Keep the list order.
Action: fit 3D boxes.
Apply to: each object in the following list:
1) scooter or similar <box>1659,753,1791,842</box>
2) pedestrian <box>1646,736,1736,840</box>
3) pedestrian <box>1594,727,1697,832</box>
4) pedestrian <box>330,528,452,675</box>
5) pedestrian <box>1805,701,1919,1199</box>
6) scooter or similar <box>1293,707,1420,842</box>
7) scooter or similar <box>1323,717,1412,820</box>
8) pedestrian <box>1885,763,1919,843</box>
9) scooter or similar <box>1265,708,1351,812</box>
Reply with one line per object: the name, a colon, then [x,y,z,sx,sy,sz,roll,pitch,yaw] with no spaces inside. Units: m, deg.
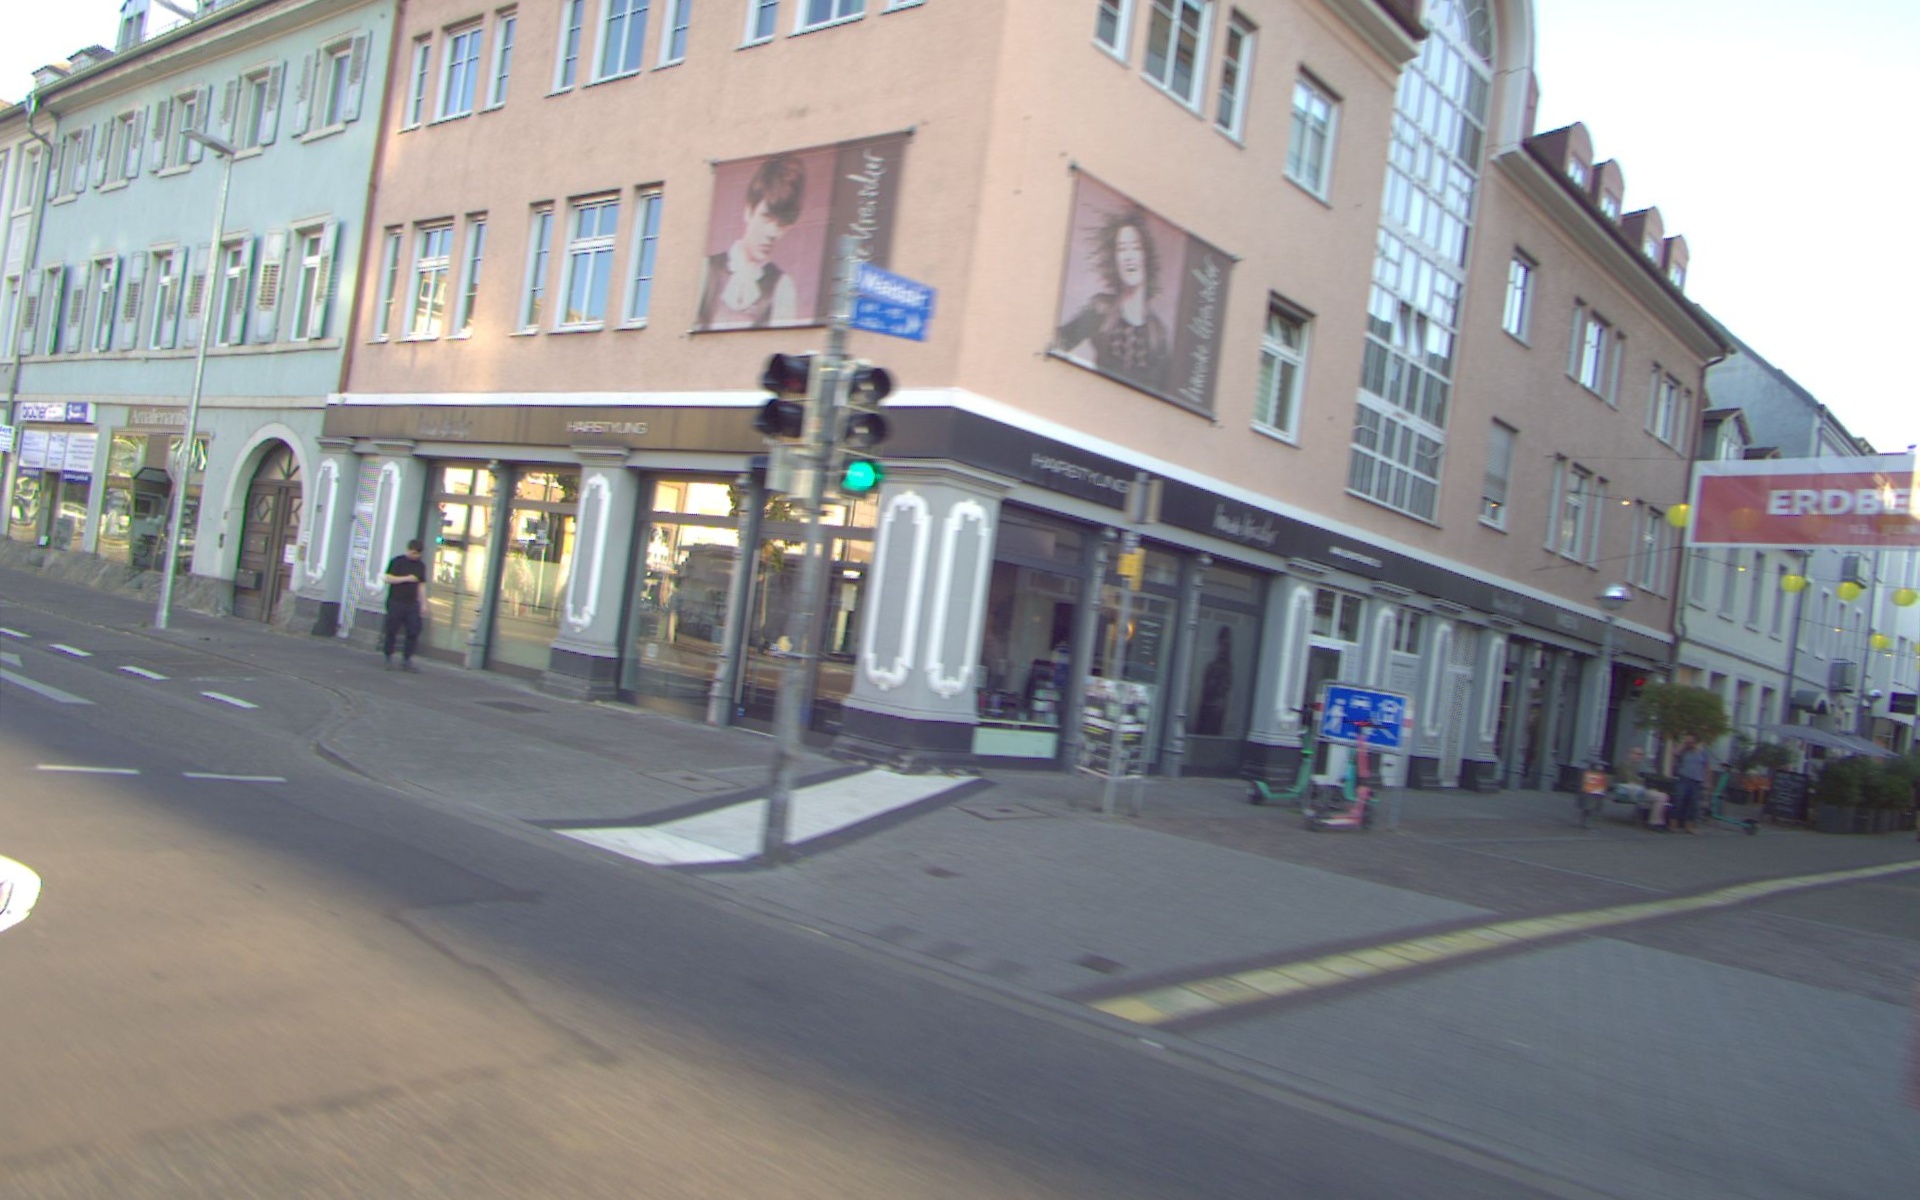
scooter or similar: [14.616,3.761,19.243,1.458,1.341,1.417,9,-2,-26]
pedestrian: [12.508,3.214,17.208,1.038,1.582,0.824,9,-1,-35]
pedestrian: [11.532,3.014,16.933,0.978,1.542,1.037,9,-2,-36]
pedestrian: [-7.604,0.028,13.465,1.030,1.797,0.759,7,-2,27]
pedestrian: [3.371,1.239,3.115,0.797,1.740,0.797,8,-2,24]
scooter or similar: [4.227,1.866,10.686,1.311,1.278,0.518,10,-2,-37]
scooter or similar: [5.202,2.144,12.797,0.502,1.177,1.316,7,-3,43]
pedestrian: [23.217,4.925,24.131,1.148,1.783,1.132,9,-1,-34]
scooter or similar: [4.414,2.018,12.723,0.516,1.177,1.318,7,-3,38]
